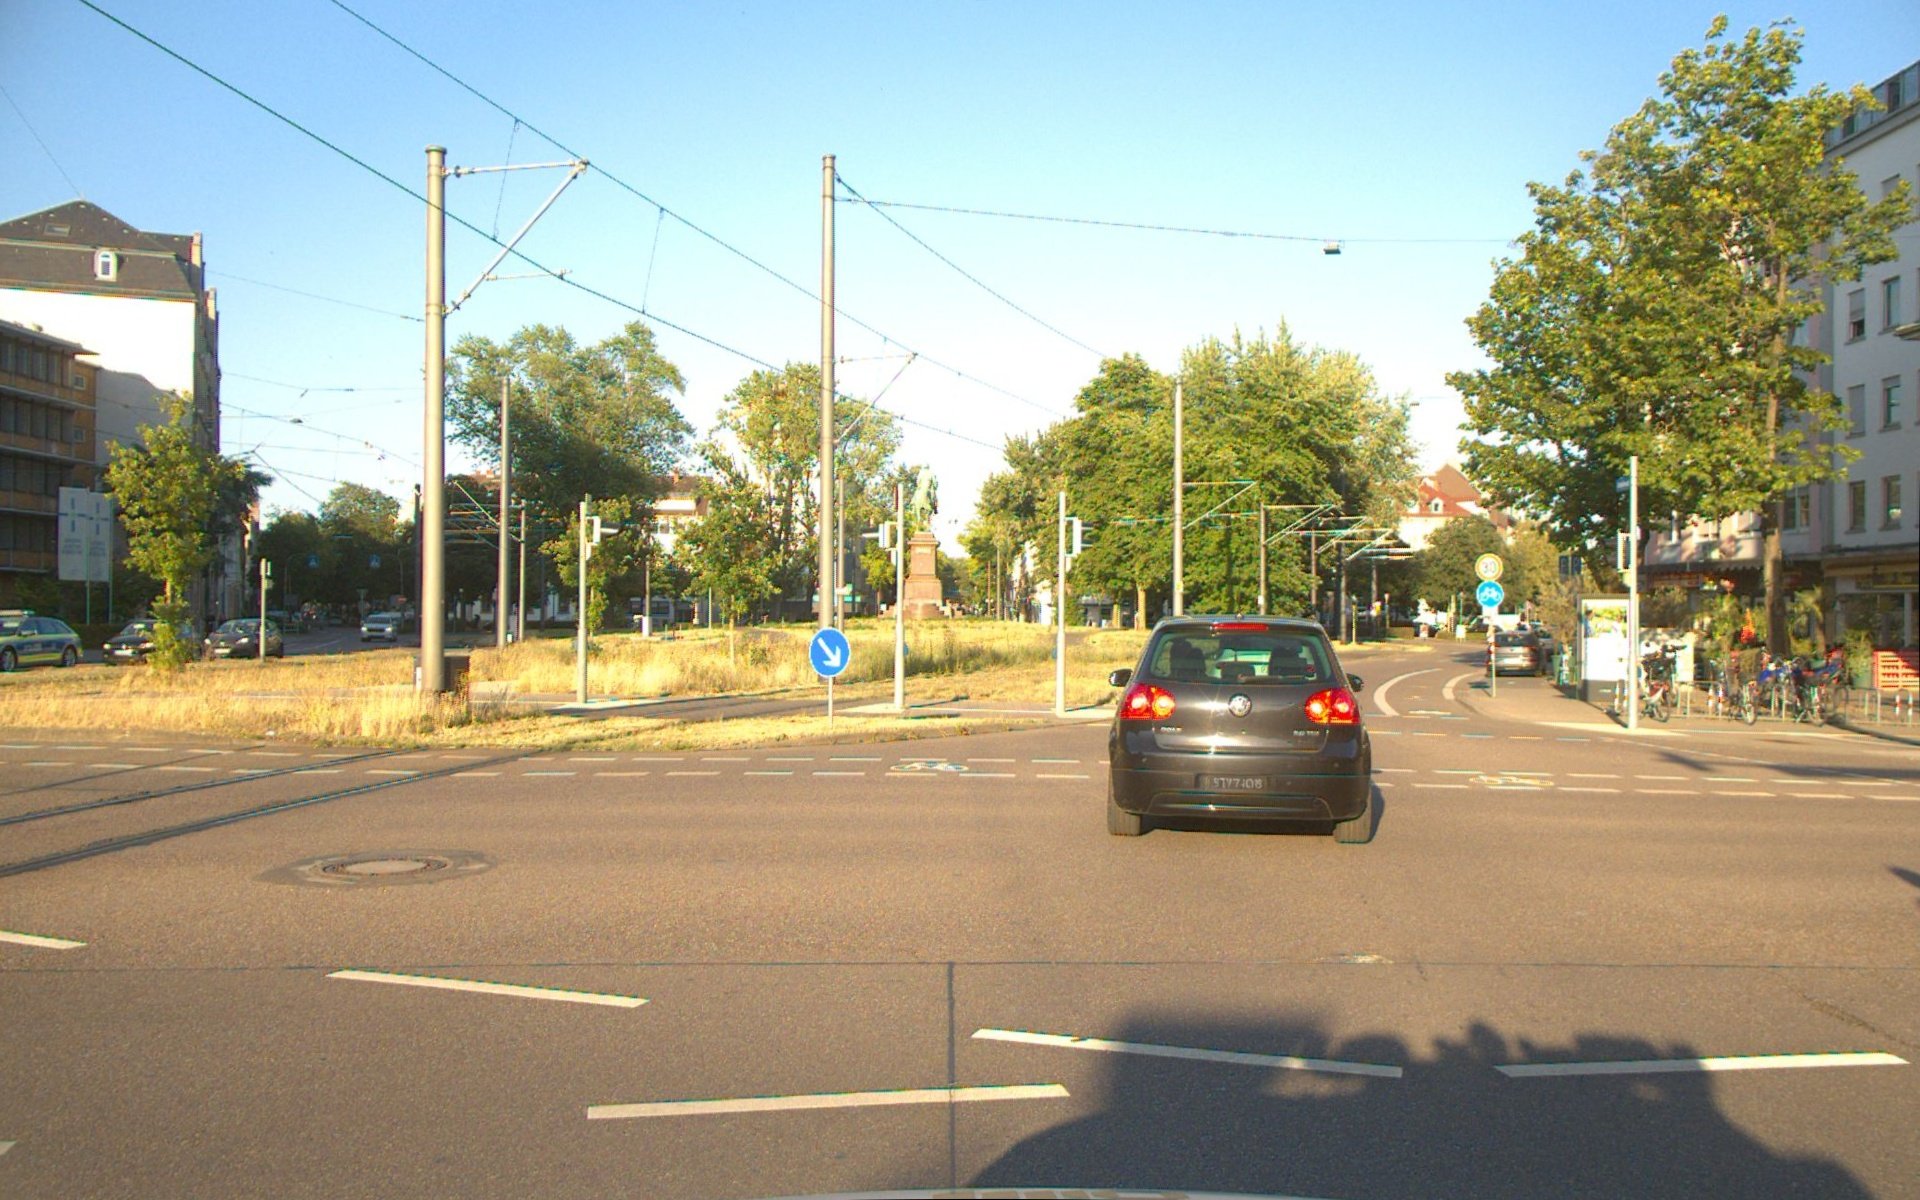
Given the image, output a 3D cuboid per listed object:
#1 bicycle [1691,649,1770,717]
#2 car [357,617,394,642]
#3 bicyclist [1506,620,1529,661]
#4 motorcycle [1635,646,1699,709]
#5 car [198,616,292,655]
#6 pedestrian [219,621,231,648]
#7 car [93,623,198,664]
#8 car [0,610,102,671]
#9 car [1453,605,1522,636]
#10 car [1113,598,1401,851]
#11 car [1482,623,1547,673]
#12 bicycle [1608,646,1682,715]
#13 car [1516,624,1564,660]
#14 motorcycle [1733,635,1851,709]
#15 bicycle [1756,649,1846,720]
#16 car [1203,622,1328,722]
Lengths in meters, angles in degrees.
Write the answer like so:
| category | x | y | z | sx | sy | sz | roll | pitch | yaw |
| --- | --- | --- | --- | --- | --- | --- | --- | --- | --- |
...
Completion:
| category | x | y | z | sx | sy | sz | roll | pitch | yaw |
| --- | --- | --- | --- | --- | --- | --- | --- | --- | --- |
| bicycle | 14.190 | 1.512 | 30.515 | 0.631 | 1.146 | 1.874 | 0 | 0 | 2 |
| car | -35.540 | 1.779 | 100.635 | 1.741 | 1.508 | 4.292 | 0 | 0 | -15 |
| bicyclist | 22.909 | 1.671 | 67.978 | 0.761 | 1.646 | 1.025 | 1 | -1 | 23 |
| motorcycle | 15.204 | 1.644 | 35.614 | 0.652 | 1.264 | 2.202 | 0 | 0 | 6 |
| car | -24.773 | 1.209 | 57.444 | 1.612 | 1.304 | 3.740 | 0 | 0 | 0 |
| pedestrian | -39.188 | 1.849 | 88.187 | 0.405 | 1.455 | 0.485 | 0 | 0 | 0 |
| car | -24.861 | 1.304 | 50.599 | 1.489 | 1.174 | 3.597 | 1 | 0 | -2 |
| car | -24.473 | 1.007 | 42.823 | 1.849 | 1.506 | 4.783 | 0 | 0 | 2 |
| car | 46.575 | 1.792 | 146.149 | 5.401 | 2.640 | 2.153 | 1 | -1 | -3 |
| car | 2.163 | 0.764 | 12.091 | 1.710 | 1.486 | 4.106 | 1 | 0 | 10 |
| car | 18.109 | 1.542 | 53.942 | 1.693 | 1.498 | 3.898 | -2 | -2 | 23 |
| bicycle | 12.600 | 1.462 | 30.474 | 0.631 | 1.146 | 1.874 | 0 | 0 | 2 |
| car | 27.278 | 1.957 | 77.740 | 1.746 | 1.584 | 4.232 | -2 | -2 | 24 |
| motorcycle | 16.896 | 1.455 | 33.633 | 2.000 | 1.431 | 0.761 | 1 | 0 | 8 |
| bicycle | 15.477 | 1.539 | 30.503 | 0.631 | 1.178 | 2.125 | 0 | 1 | 2 |
| car | 5.092 | 1.114 | 27.172 | 1.825 | 1.466 | 4.200 | 0 | 0 | 13 |
